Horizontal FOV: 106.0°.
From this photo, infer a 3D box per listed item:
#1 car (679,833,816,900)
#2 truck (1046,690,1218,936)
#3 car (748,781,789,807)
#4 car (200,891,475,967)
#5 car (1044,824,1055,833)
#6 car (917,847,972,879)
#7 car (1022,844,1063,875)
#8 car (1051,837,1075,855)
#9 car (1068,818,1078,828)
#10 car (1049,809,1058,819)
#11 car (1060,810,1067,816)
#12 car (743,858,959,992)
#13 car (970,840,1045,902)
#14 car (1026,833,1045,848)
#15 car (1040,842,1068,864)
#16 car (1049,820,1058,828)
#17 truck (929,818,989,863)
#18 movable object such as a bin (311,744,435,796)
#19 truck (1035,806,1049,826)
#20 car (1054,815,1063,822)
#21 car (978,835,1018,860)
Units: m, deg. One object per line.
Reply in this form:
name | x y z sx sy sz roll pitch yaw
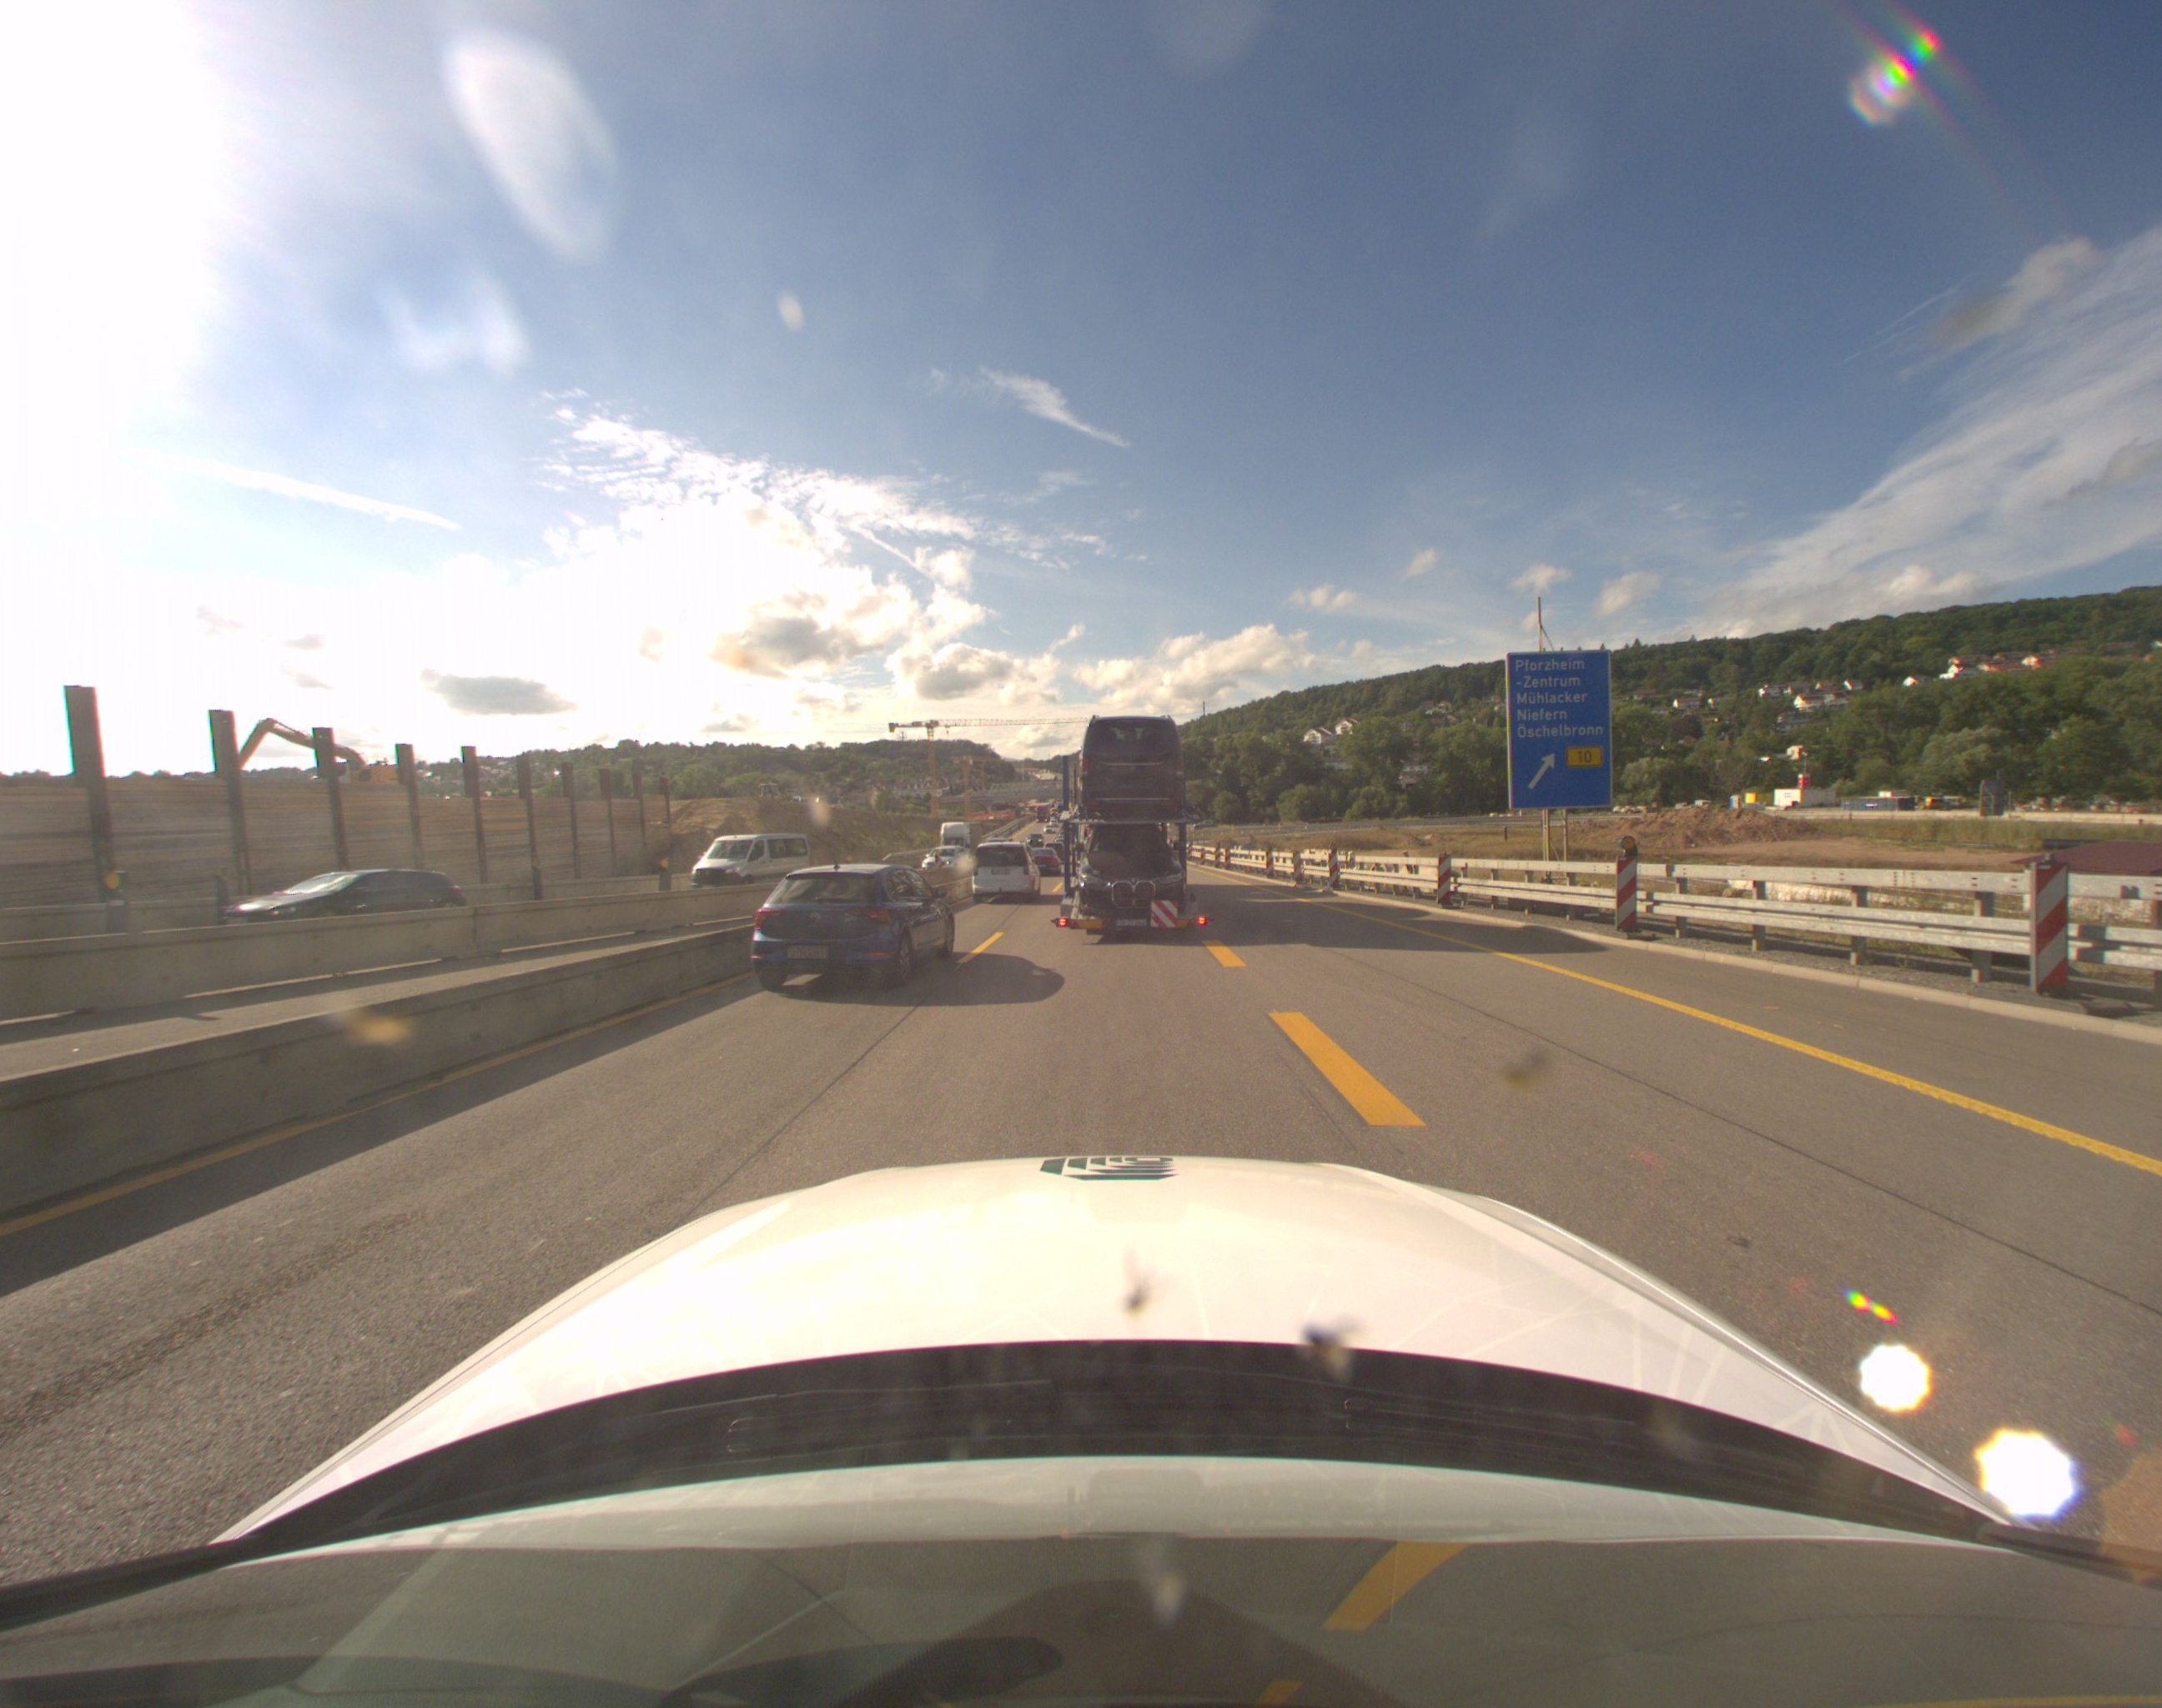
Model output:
car | -13.009 0.484 32.329 2.245 2.402 5.882 -1 -1 9
truck | 1.076 -0.696 22.544 2.743 3.954 18.895 0 0 2
car | -32.604 -6.204 85.088 1.987 2.140 5.321 -6 -1 0
car | -15.703 1.525 17.542 1.908 1.273 4.012 -1 0 11
car | -5.351 -4.353 140.190 1.848 1.439 4.556 1 1 -2
car | -7.609 0.467 45.675 2.116 1.674 4.276 0 1 3
car | -2.010 0.299 43.687 1.987 1.556 4.400 -1 0 0
car | -1.662 -0.741 77.522 1.986 1.666 4.002 -1 0 2
car | -1.513 -5.619 149.038 1.839 1.648 4.502 -1 1 -2
car | -8.018 -11.792 237.714 1.986 2.878 6.068 -1 3 2
car | -5.042 -11.890 237.916 1.839 1.648 4.235 -1 1 -1
car | -2.795 0.792 10.841 1.716 1.422 3.999 -1 -1 0
car | -2.227 0.511 25.681 1.816 1.792 4.002 -1 -1 2
car | -5.268 -1.551 95.458 1.846 1.635 4.750 0 1 1
car | -1.999 -0.082 59.951 1.989 1.552 3.996 -1 0 -3
car | -5.409 -5.965 161.139 1.749 1.439 3.804 -1 1 -1
truck | -9.598 -0.994 64.995 2.685 3.311 7.553 -1 -1 8
movable object such as a bin | -53.832 -6.317 62.040 5.707 3.270 4.526 -1 -1 12
truck | -8.779 -8.545 183.902 2.907 4.386 6.281 0 1 -3
car | -4.987 -8.065 183.075 1.814 1.439 4.616 -1 1 2
car | -6.044 -0.498 60.011 2.116 1.766 5.036 0 1 3
